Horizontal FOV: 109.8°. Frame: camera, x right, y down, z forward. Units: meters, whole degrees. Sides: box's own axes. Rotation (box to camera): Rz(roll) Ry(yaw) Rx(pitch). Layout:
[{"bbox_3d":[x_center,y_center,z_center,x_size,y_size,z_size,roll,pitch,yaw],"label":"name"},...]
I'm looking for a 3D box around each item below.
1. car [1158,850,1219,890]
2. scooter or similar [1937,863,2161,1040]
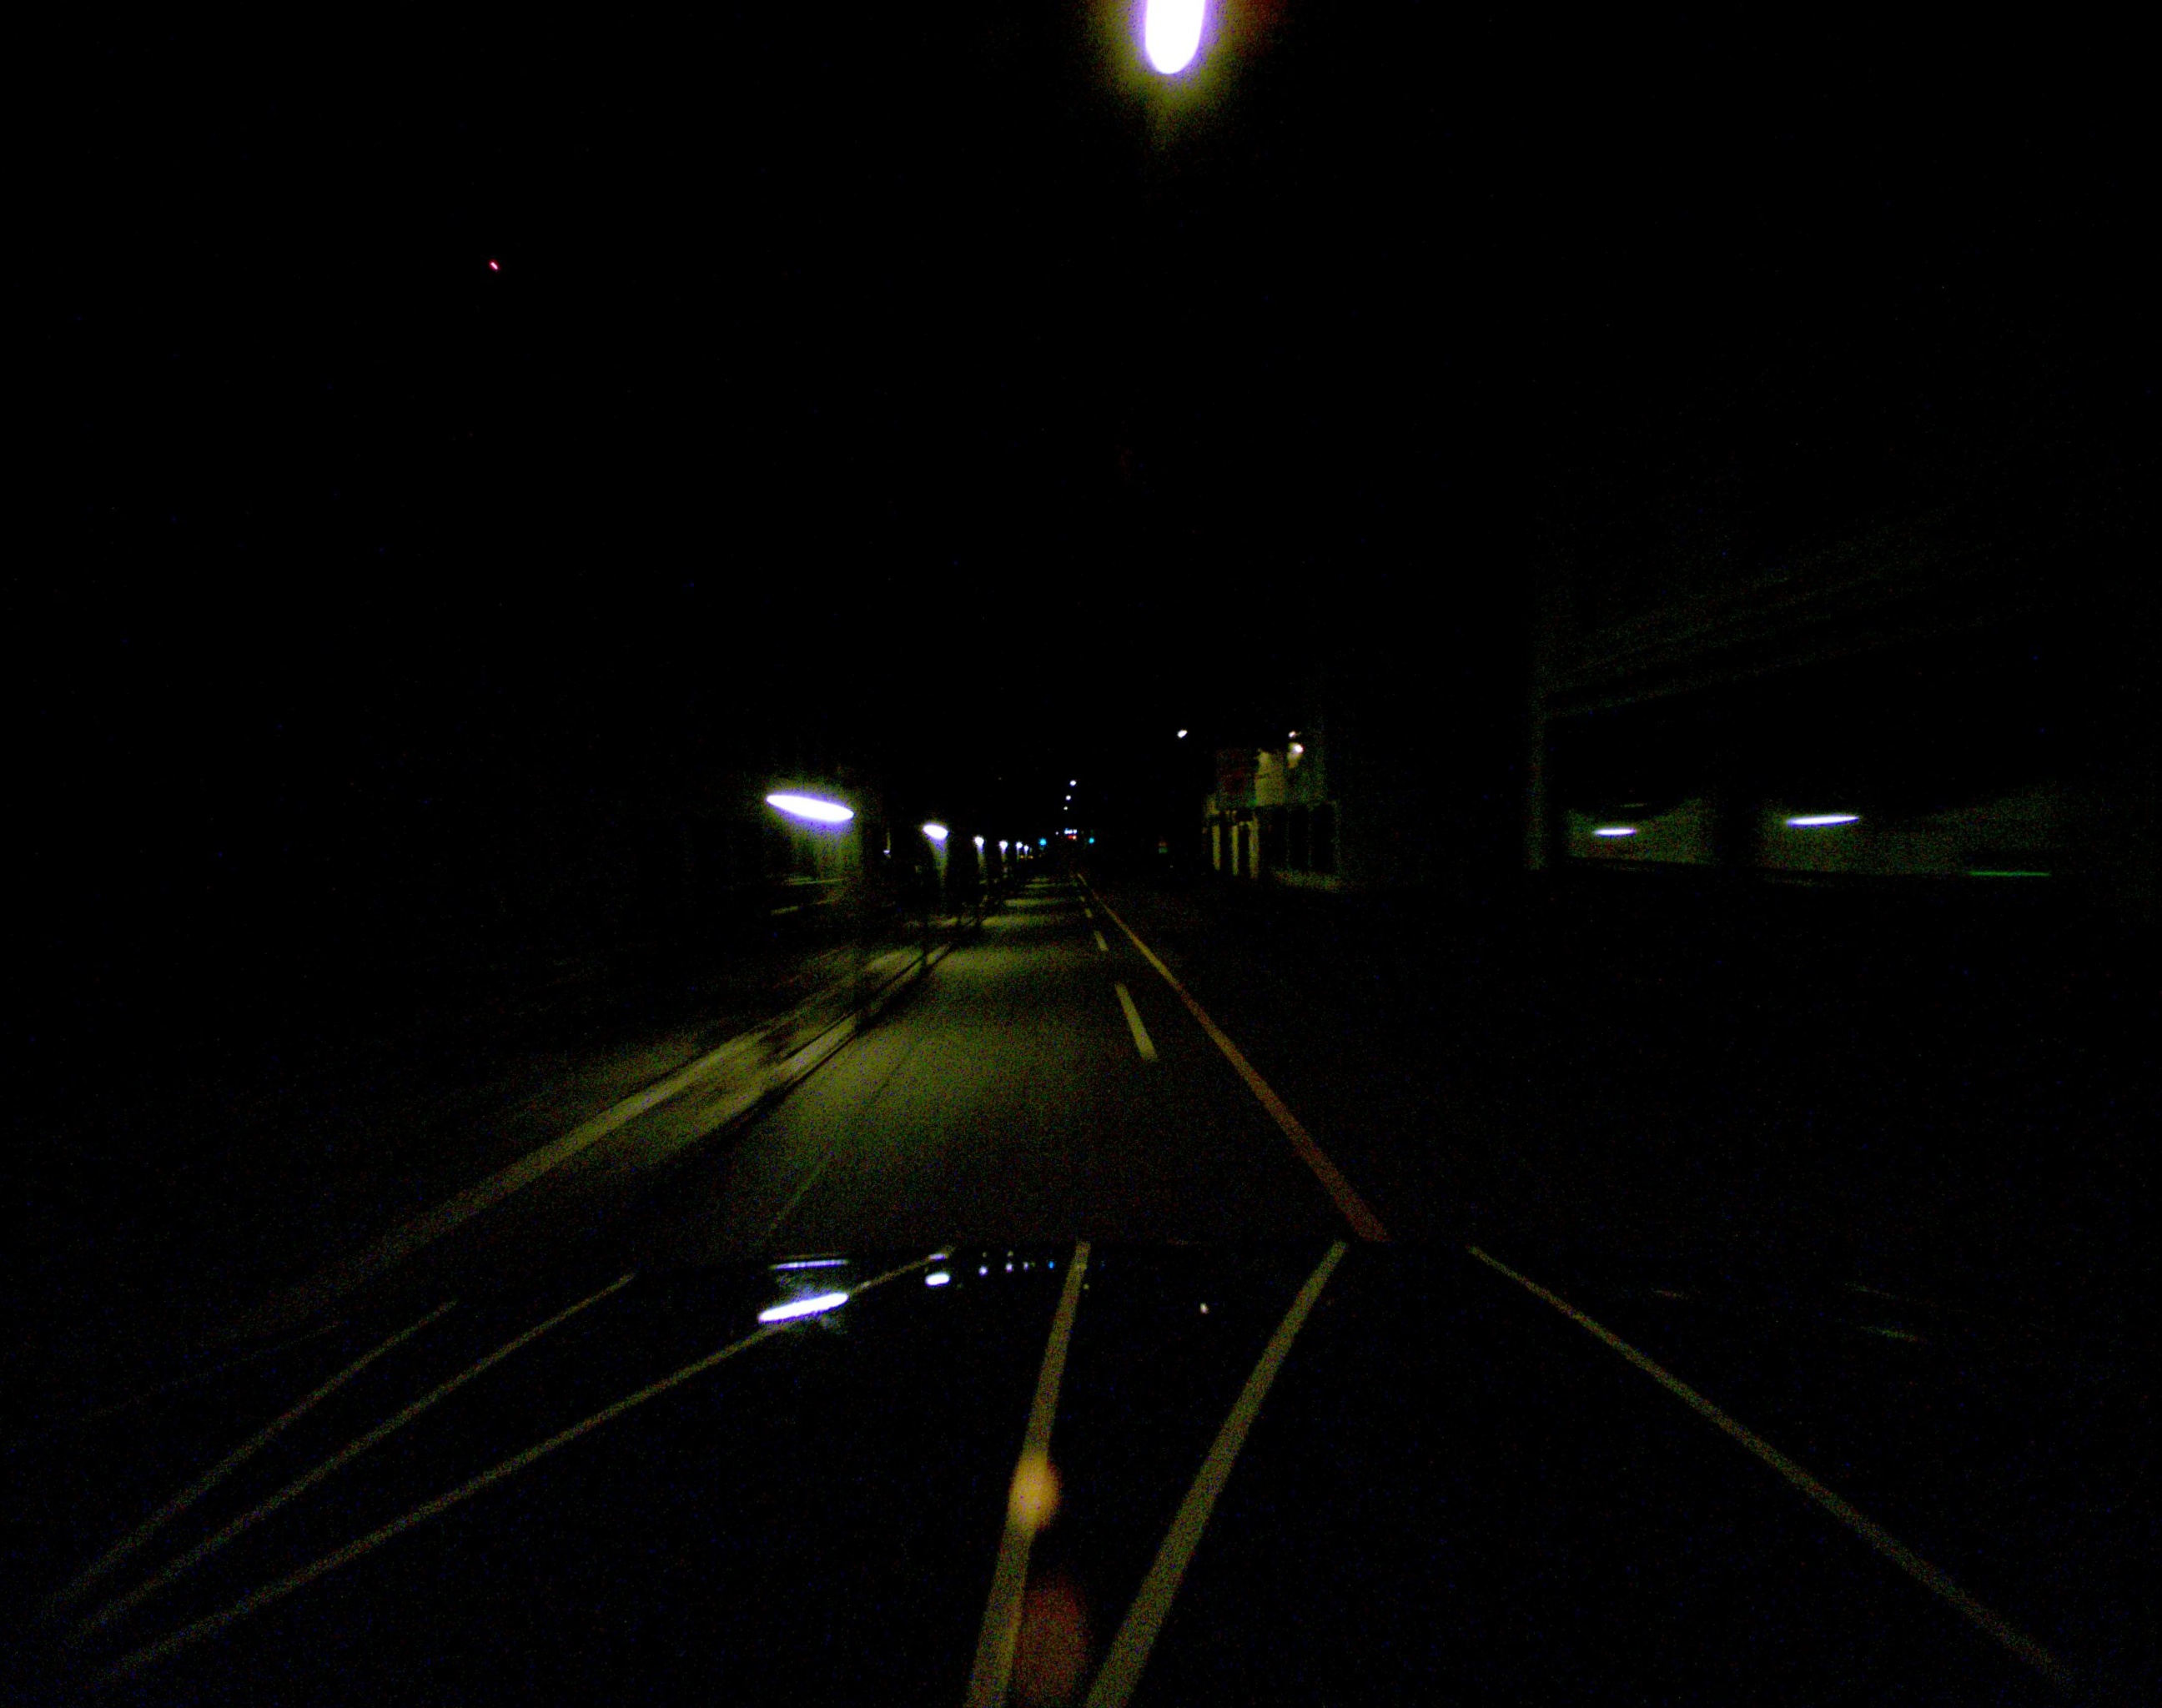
[{"bbox_3d":[4.405,0.623,31.749,1.731,1.477,4.290,-3,1,-2],"label":"car"},{"bbox_3d":[7.809,0.711,6.117,0.332,1.218,1.335,-3,1,1],"label":"scooter or similar"}]
